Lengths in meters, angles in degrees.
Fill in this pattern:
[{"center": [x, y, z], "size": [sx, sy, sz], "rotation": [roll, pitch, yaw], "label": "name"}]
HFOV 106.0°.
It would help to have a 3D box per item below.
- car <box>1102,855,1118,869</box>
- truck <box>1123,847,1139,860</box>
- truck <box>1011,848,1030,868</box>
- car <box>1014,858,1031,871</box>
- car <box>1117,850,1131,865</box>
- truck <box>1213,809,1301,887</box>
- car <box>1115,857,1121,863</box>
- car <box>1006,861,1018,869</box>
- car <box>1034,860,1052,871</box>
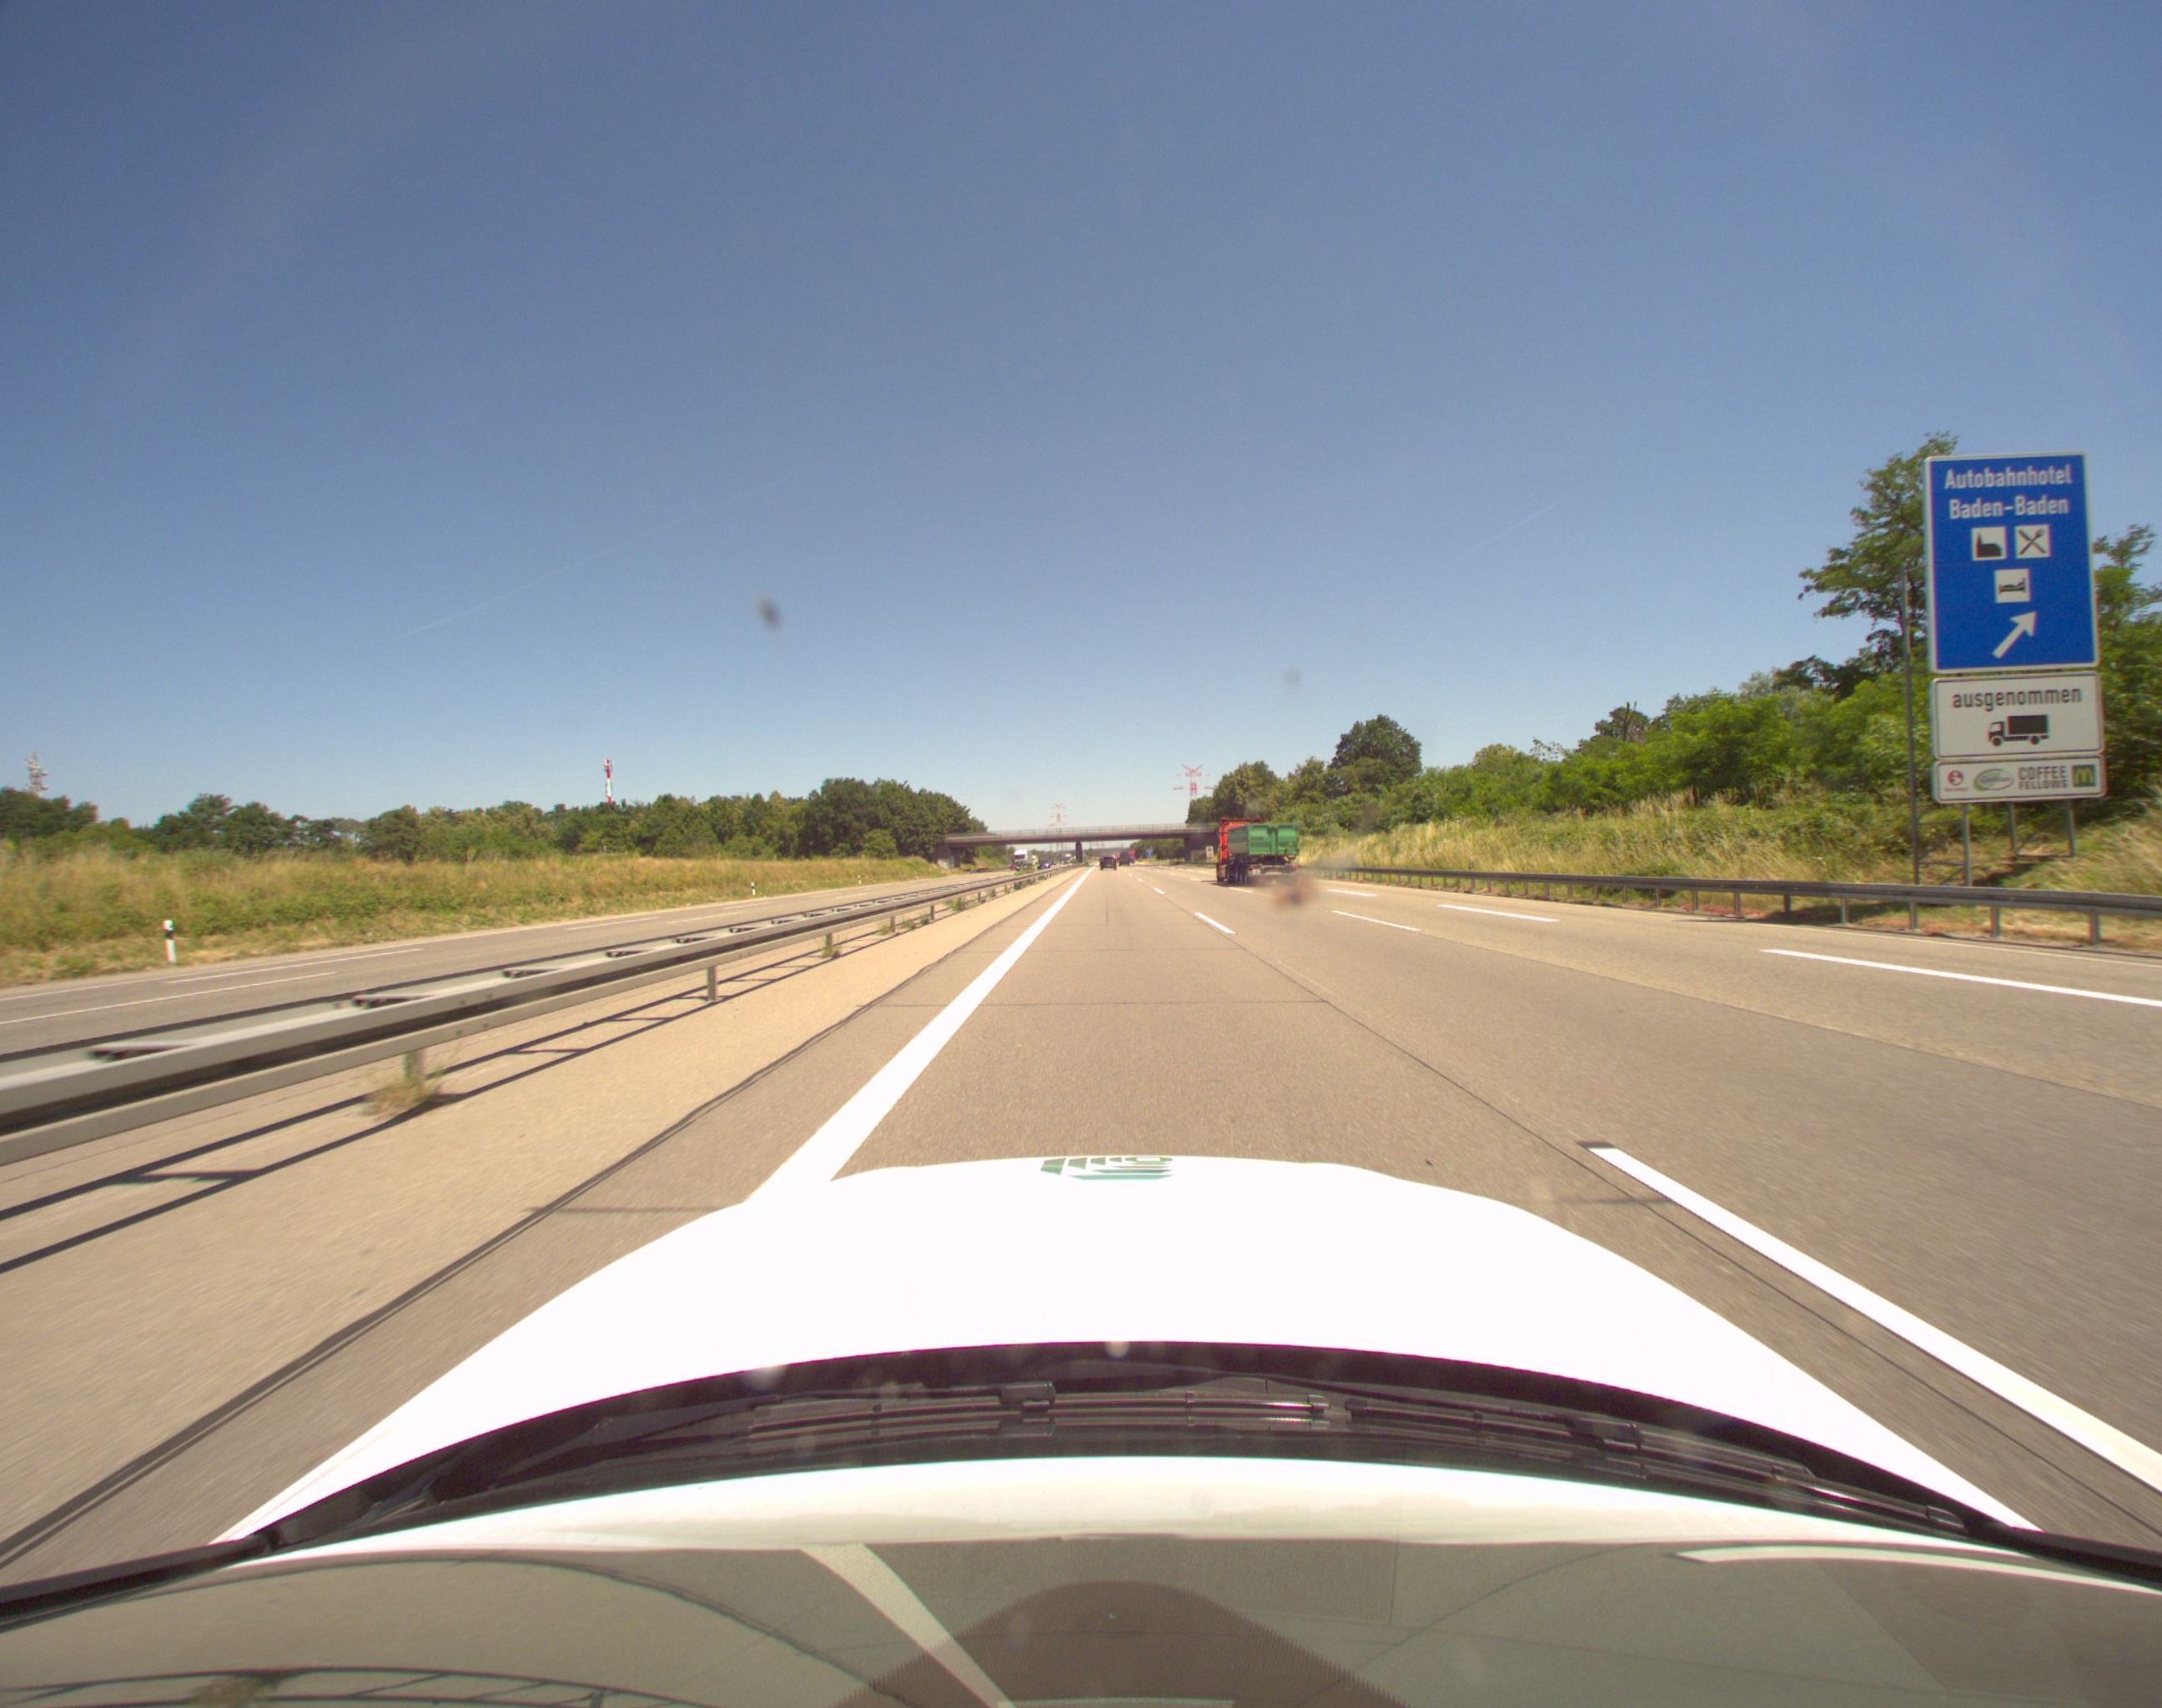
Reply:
[{"center": [3.608, 0.979, 101.070], "size": [1.986, 1.750, 4.001], "rotation": [0, 0, 1], "label": "car"}, {"center": [15.105, -0.179, 247.436], "size": [4.315, 3.941, 16.085], "rotation": [0, 0, 2], "label": "truck"}, {"center": [-12.728, 0.763, 171.702], "size": [2.938, 3.960, 6.955], "rotation": [-4, 0, 1], "label": "truck"}, {"center": [-9.506, 1.701, 132.981], "size": [2.220, 1.812, 5.300], "rotation": [-4, 0, 1], "label": "car"}, {"center": [8.607, 0.697, 162.122], "size": [2.611, 2.759, 6.098], "rotation": [0, 0, 2], "label": "car"}, {"center": [9.594, -0.268, 45.950], "size": [2.671, 3.798, 12.483], "rotation": [0, 0, 2], "label": "truck"}, {"center": [11.450, 1.854, 252.299], "size": [1.740, 1.634, 4.005], "rotation": [0, 0, 2], "label": "car"}, {"center": [-16.114, 2.624, 190.461], "size": [2.220, 1.610, 4.789], "rotation": [-4, 0, 1], "label": "car"}, {"center": [-5.747, 1.739, 123.985], "size": [2.220, 1.424, 5.300], "rotation": [-4, 0, 1], "label": "car"}]
